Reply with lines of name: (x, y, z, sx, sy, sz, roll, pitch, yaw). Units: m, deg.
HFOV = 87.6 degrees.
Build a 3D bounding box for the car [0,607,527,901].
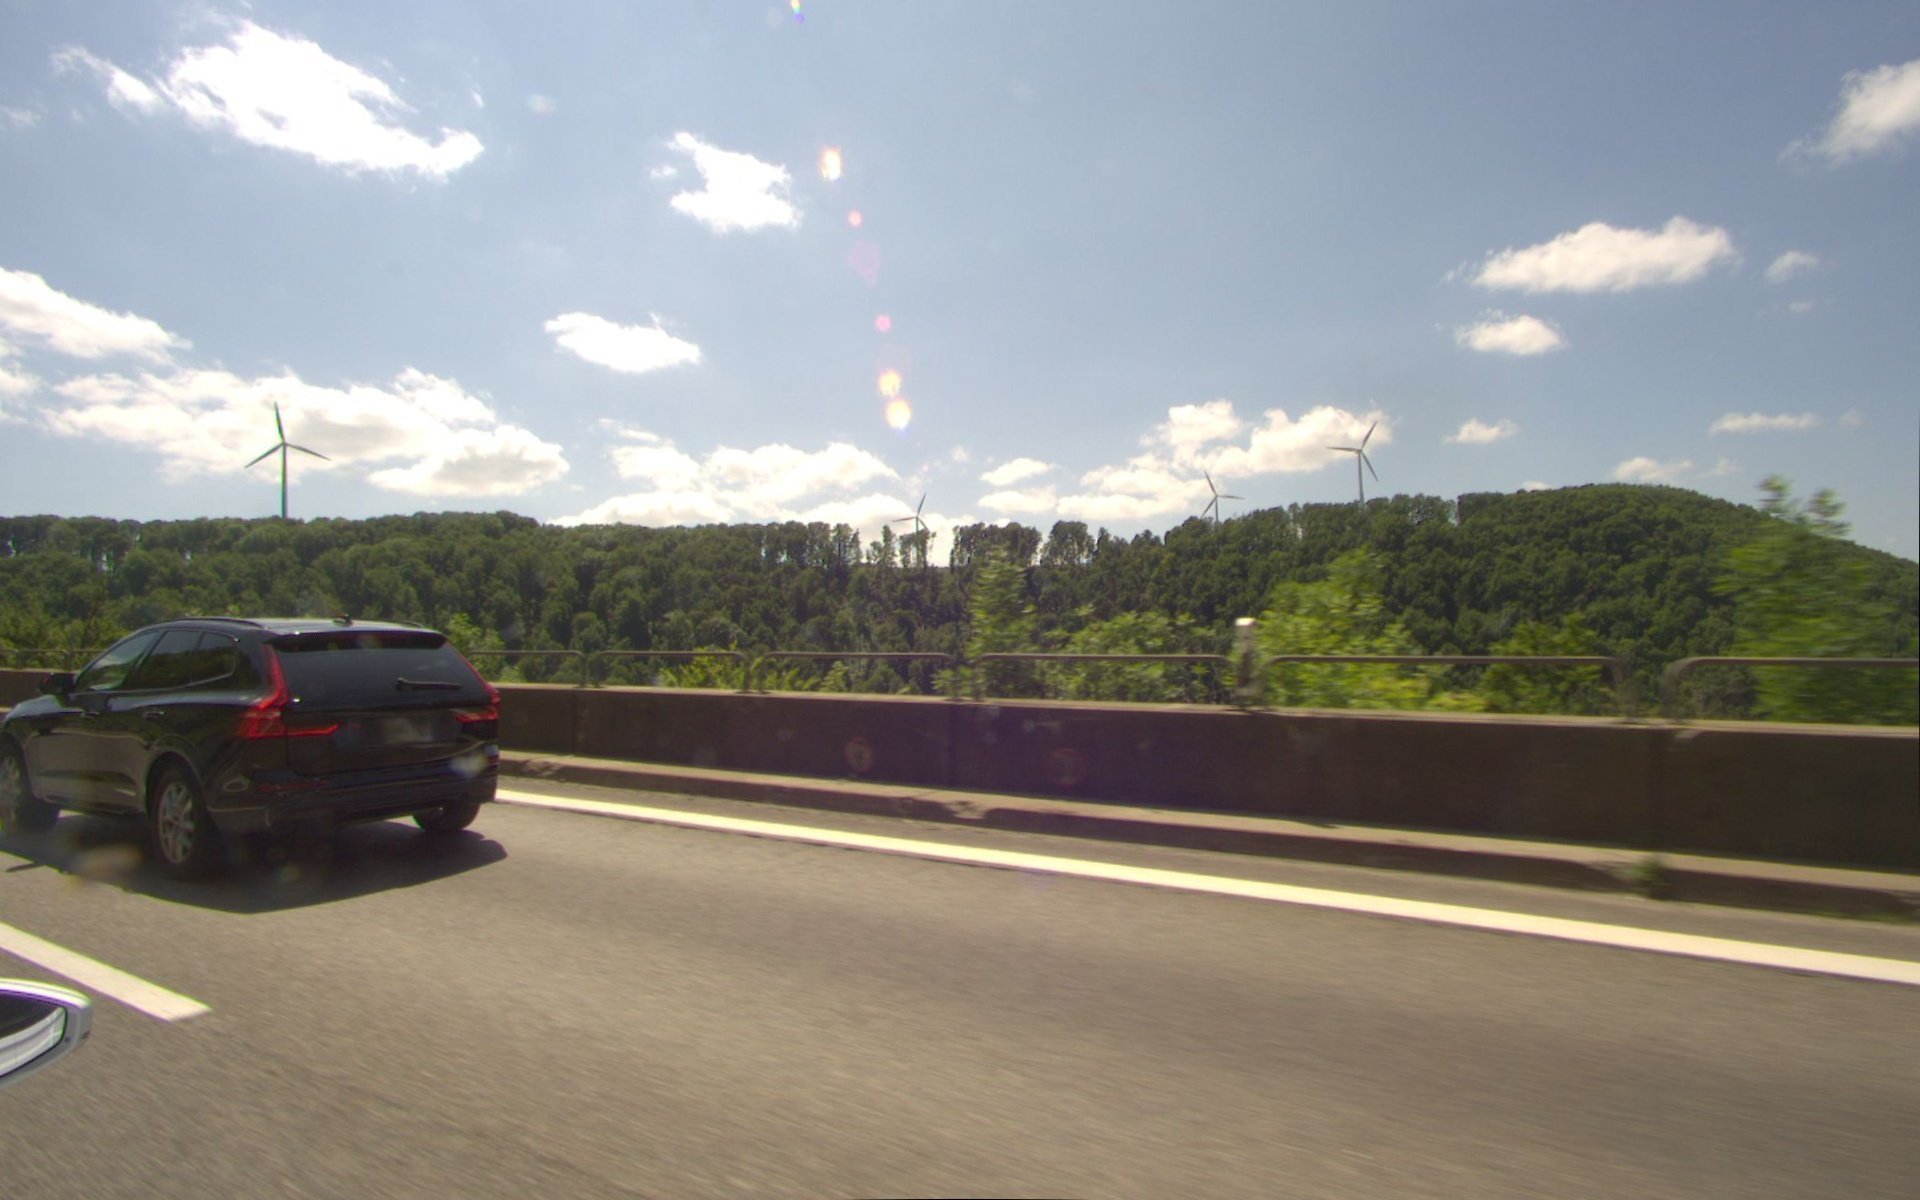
car: (-5.550, 0.911, 7.624, 4.594, 1.654, 1.832, -1, -1, 31)
